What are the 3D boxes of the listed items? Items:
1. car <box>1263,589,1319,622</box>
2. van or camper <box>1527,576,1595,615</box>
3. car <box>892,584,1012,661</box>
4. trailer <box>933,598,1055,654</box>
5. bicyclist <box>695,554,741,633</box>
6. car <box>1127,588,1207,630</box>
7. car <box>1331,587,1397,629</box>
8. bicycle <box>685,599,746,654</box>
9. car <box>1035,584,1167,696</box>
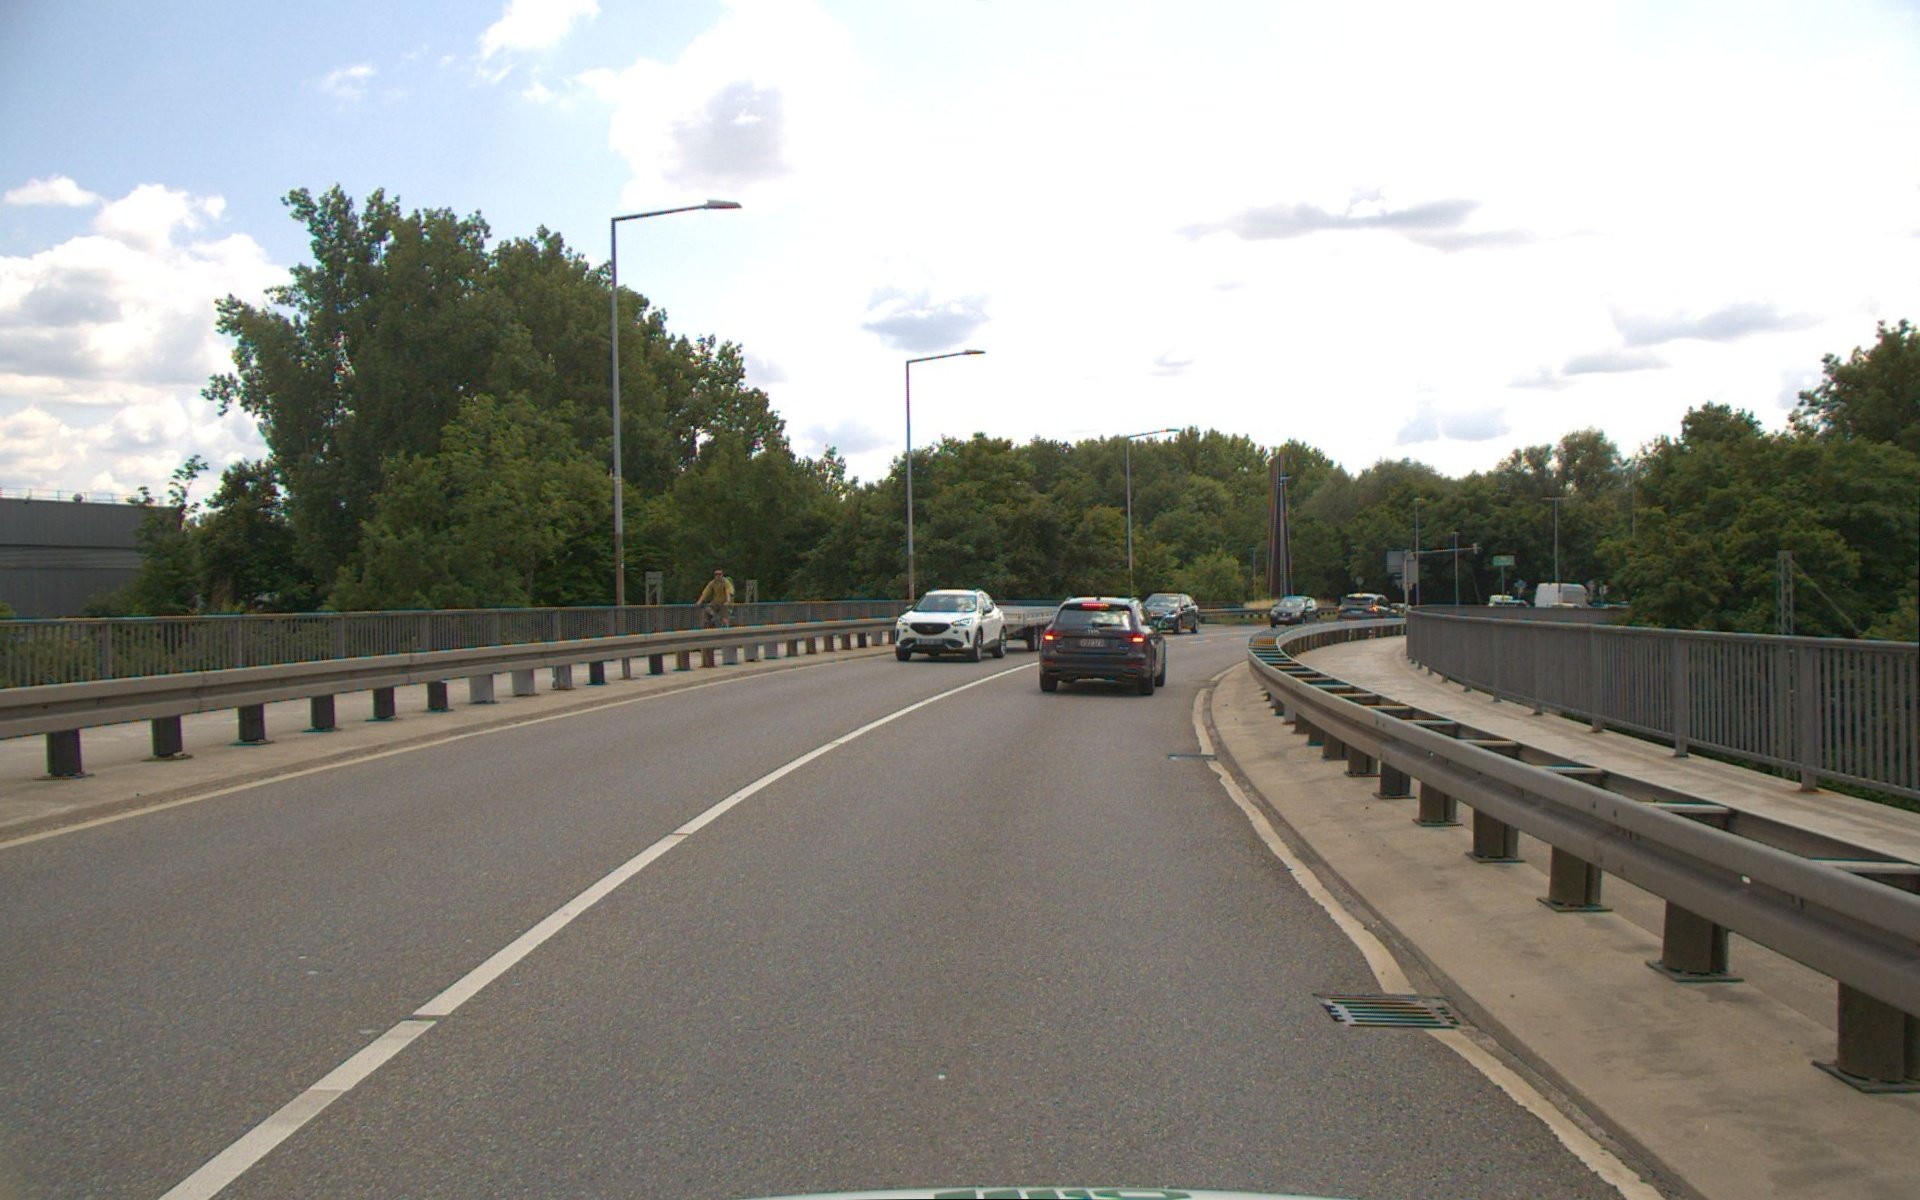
[{"bbox_3d":[15.813,0.249,78.860,1.778,1.477,3.924,2,1,24],"label":"car"},{"bbox_3d":[38.785,-0.269,106.648,2.240,2.381,5.208,2,1,42],"label":"van or camper"},{"bbox_3d":[-0.108,0.444,36.536,1.768,1.562,4.352,1,1,12],"label":"car"},{"bbox_3d":[0.958,0.594,41.605,2.001,1.230,5.988,1,1,12],"label":"trailer"},{"bbox_3d":[-5.063,-0.134,34.678,0.751,1.630,0.948,0,0,6],"label":"bicyclist"},{"bbox_3d":[7.834,0.311,62.340,1.780,1.476,4.736,1,1,22],"label":"car"},{"bbox_3d":[16.954,0.322,69.276,1.786,1.680,3.850,2,1,28],"label":"car"},{"bbox_3d":[-5.087,0.539,34.525,0.752,1.114,2.117,0,0,6],"label":"bicycle"},{"bbox_3d":[2.327,0.567,26.450,1.789,1.517,4.211,1,2,9],"label":"car"}]
